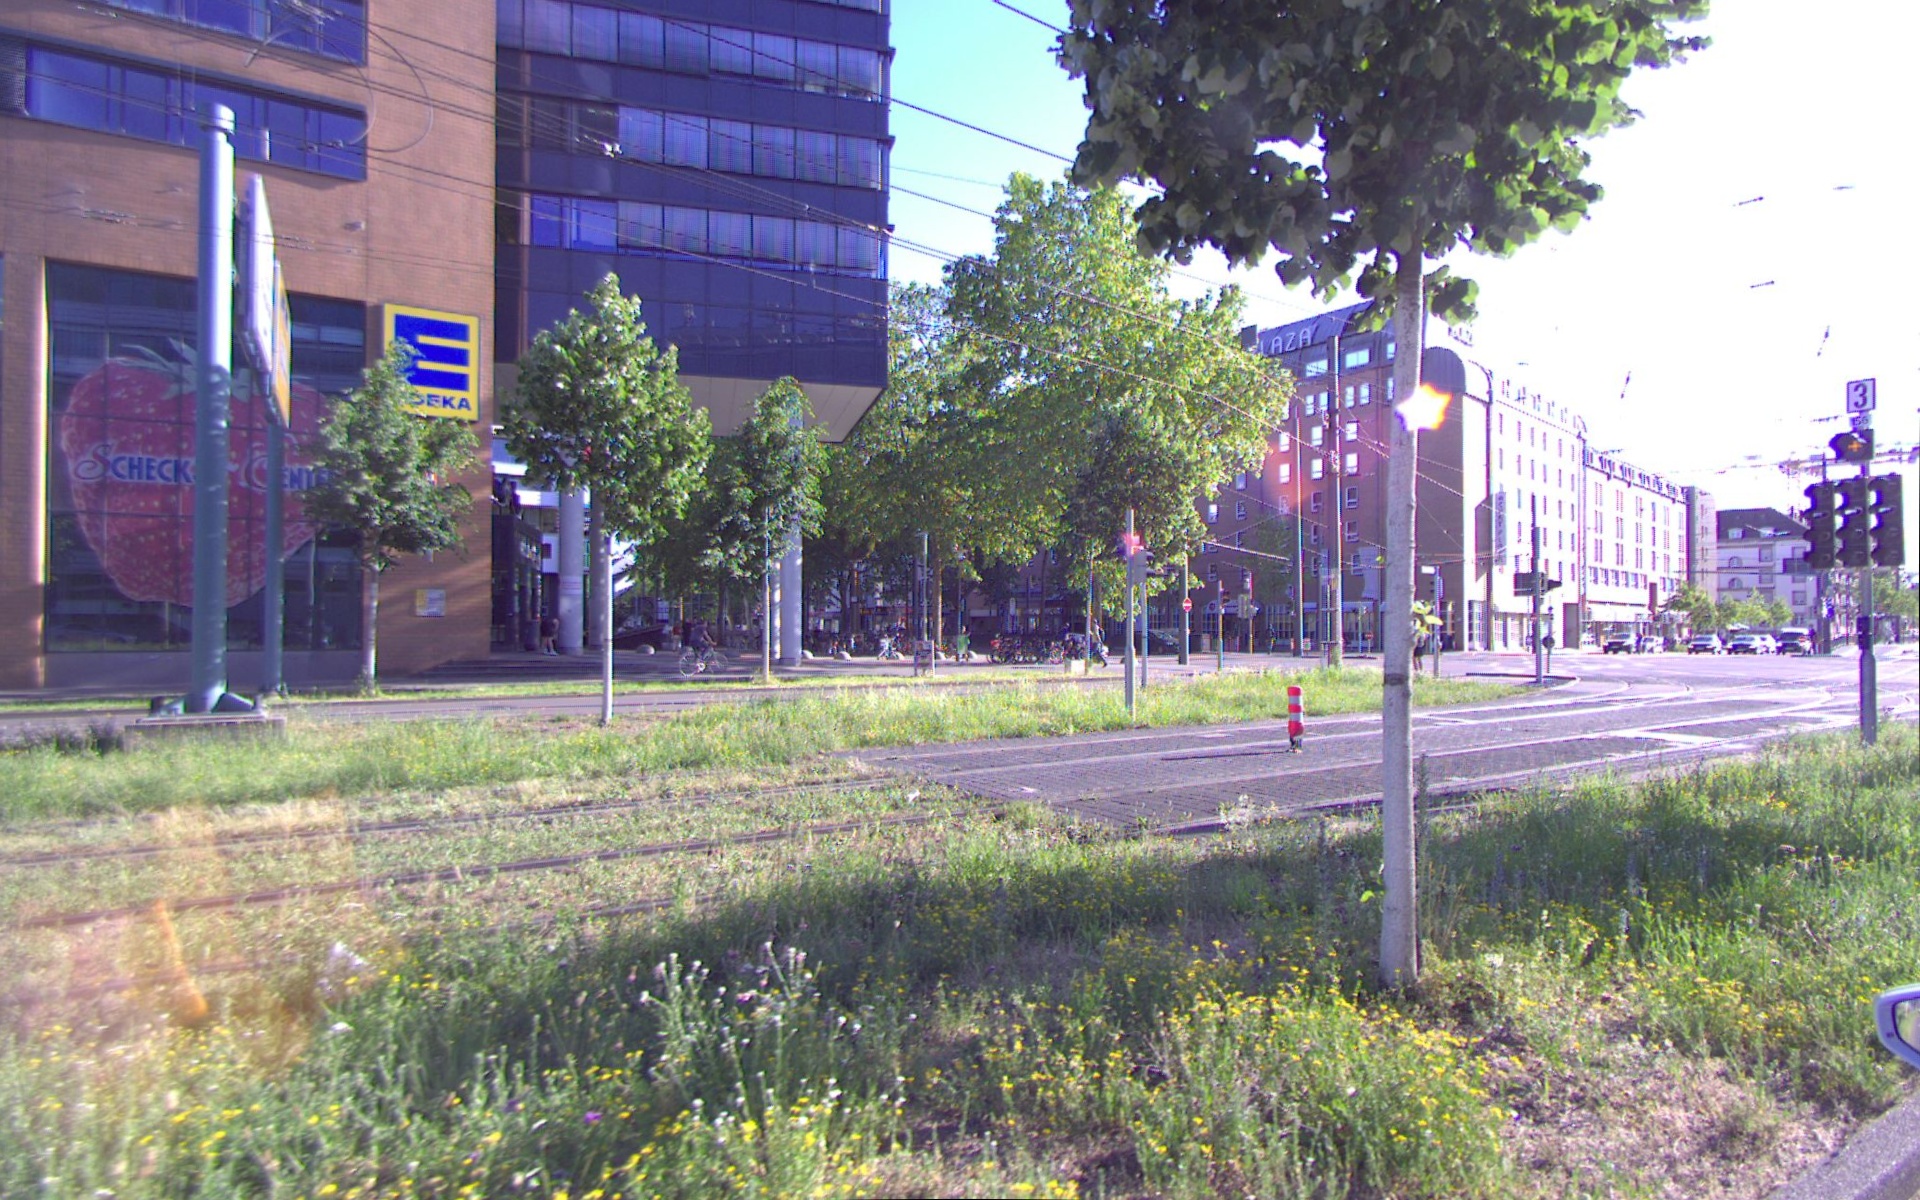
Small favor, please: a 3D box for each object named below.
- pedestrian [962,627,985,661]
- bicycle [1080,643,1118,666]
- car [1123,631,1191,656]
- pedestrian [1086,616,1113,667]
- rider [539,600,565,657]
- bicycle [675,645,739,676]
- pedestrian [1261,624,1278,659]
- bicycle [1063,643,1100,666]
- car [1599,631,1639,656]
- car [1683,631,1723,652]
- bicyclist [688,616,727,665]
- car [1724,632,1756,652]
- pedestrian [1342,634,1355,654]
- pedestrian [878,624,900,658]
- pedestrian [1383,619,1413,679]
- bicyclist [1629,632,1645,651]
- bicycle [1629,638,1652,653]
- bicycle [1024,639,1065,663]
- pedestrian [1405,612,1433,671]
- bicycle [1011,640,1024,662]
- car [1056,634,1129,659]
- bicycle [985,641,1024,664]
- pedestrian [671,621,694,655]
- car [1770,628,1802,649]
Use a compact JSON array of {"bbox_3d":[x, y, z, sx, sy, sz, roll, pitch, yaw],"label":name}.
[{"bbox_3d":[0.649,2.127,48.612,0.827,1.619,0.730,1,0,-27],"label":"pedestrian"},{"bbox_3d":[6.108,2.390,44.235,0.536,0.964,1.752,1,-2,-38],"label":"bicycle"},{"bbox_3d":[12.053,2.632,61.731,1.744,1.439,3.957,1,-2,-37],"label":"car"},{"bbox_3d":[5.688,1.694,40.939,0.827,2.040,0.730,1,0,-27],"label":"pedestrian"},{"bbox_3d":[-13.391,0.929,32.960,0.704,1.826,0.714,1,-1,-31],"label":"rider"},{"bbox_3d":[-7.873,1.878,31.273,1.869,0.922,0.495,1,-2,-35],"label":"bicycle"},{"bbox_3d":[18.361,2.473,59.603,0.670,2.040,0.662,1,-1,-31],"label":"pedestrian"},{"bbox_3d":[5.285,2.372,43.773,0.536,0.964,1.752,1,-2,-38],"label":"bicycle"},{"bbox_3d":[54.433,3.582,82.963,1.973,2.040,3.975,-1,-2,45],"label":"car"},{"bbox_3d":[59.543,3.273,80.453,1.973,1.617,4.708,-1,-2,45],"label":"car"},{"bbox_3d":[-7.864,1.248,31.271,1.006,1.484,0.673,1,0,-35],"label":"bicyclist"},{"bbox_3d":[59.870,3.191,77.078,1.725,1.524,3.861,-1,-2,41],"label":"car"},{"bbox_3d":[30.116,3.371,77.809,0.652,1.523,0.671,1,-1,-35],"label":"pedestrian"},{"bbox_3d":[-3.438,1.980,48.697,0.827,1.667,0.730,1,-1,-27],"label":"pedestrian"},{"bbox_3d":[13.575,1.506,31.136,0.657,1.854,0.626,1,-1,-38],"label":"pedestrian"},{"bbox_3d":[51.408,3.136,76.288,0.943,1.393,0.751,1,-1,-39],"label":"bicyclist"},{"bbox_3d":[51.925,3.497,76.633,2.903,1.099,0.644,1,-2,-40],"label":"bicycle"},{"bbox_3d":[3.630,2.187,43.265,1.741,0.964,0.540,-1,-1,32],"label":"bicycle"},{"bbox_3d":[14.498,1.305,31.736,0.657,1.841,0.558,1,-1,-38],"label":"pedestrian"},{"bbox_3d":[2.565,2.265,44.876,0.530,0.964,1.772,0,-1,5],"label":"bicycle"},{"bbox_3d":[7.339,2.581,55.922,1.978,1.283,3.965,1,-2,-32],"label":"car"},{"bbox_3d":[1.903,2.255,43.156,1.747,0.964,0.538,-1,-2,44],"label":"bicycle"},{"bbox_3d":[-14.395,1.954,52.176,1.092,1.730,0.789,1,0,-15],"label":"pedestrian"},{"bbox_3d":[61.748,2.837,75.061,1.725,1.524,3.861,-1,-2,41],"label":"car"}]
